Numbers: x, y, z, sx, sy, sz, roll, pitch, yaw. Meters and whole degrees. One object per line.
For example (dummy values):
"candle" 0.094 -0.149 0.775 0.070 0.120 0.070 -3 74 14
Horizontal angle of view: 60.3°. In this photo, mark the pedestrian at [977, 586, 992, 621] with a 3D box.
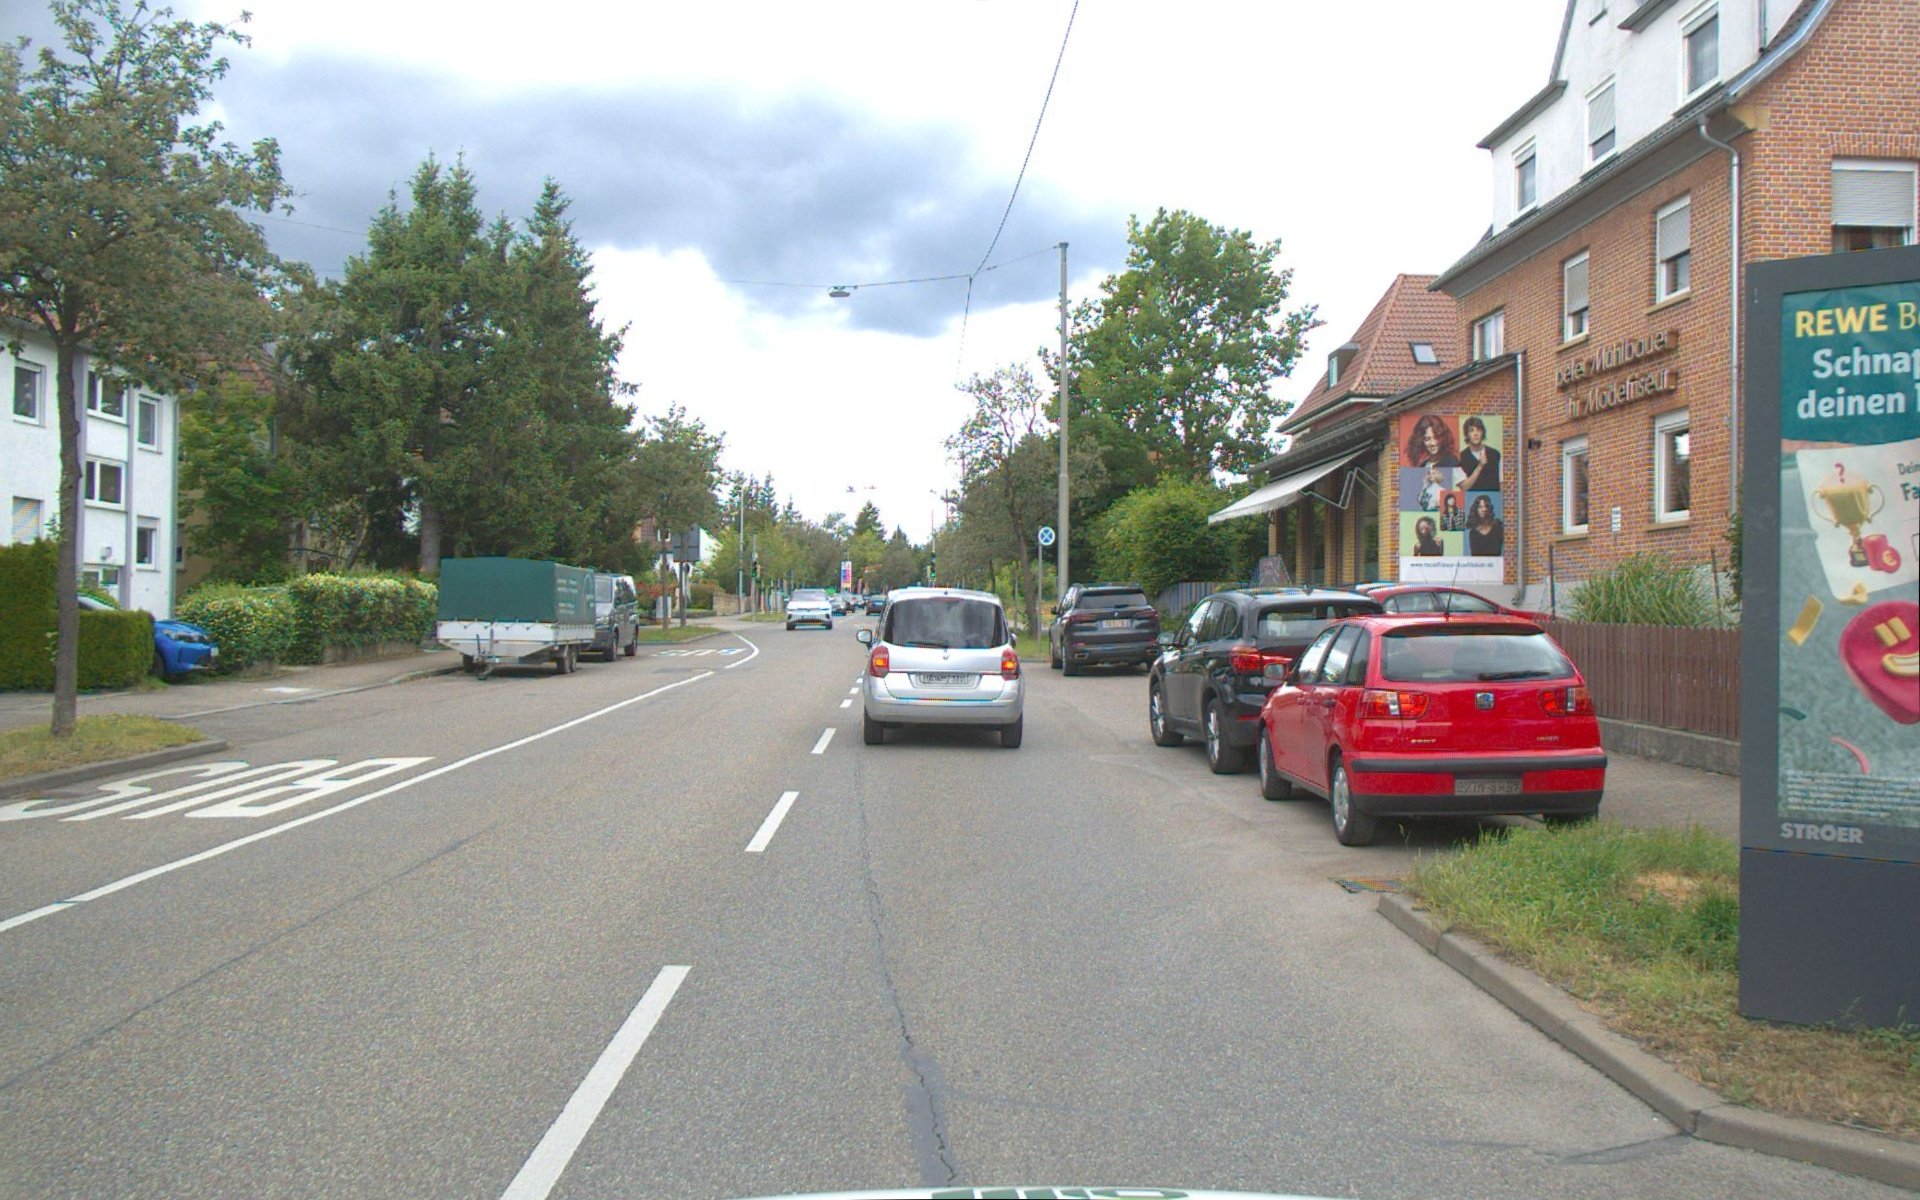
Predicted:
"pedestrian" 1.175 0.176 80.548 0.691 1.675 0.773 0 0 -2

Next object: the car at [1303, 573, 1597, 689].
"car" 7.512 0.445 25.514 3.915 1.522 1.806 -3 0 -10

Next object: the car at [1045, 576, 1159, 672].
"car" 2.760 0.463 32.883 1.776 1.773 3.998 -1 -1 -2

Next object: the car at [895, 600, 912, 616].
"car" -6.129 0.899 178.306 1.792 1.705 3.573 0 0 -1

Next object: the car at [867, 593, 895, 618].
"car" -5.504 0.355 115.477 1.792 1.705 3.573 0 0 -1

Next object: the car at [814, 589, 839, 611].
"car" -9.349 0.030 116.088 1.688 1.436 3.996 2 -1 -5

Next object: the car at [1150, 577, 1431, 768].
"car" 2.997 0.592 15.848 1.629 1.591 4.095 0 0 -4

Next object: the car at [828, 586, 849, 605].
"car" -9.852 -0.354 133.935 1.688 1.436 3.996 2 -1 -5

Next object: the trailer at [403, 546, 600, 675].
"trailer" -8.470 0.216 31.172 2.266 2.123 5.869 2 -1 -3

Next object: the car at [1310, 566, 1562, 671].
"car" 8.263 0.300 28.820 3.912 1.587 1.500 -3 0 -8

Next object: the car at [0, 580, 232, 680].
"car" -13.055 0.434 24.421 3.916 1.361 1.573 2 -2 -12

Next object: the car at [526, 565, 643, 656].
"car" -8.722 0.255 38.748 1.850 1.956 4.559 2 -1 -3

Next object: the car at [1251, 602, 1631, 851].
"car" 3.156 0.749 11.581 1.628 1.417 3.668 -1 0 1

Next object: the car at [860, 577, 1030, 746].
"car" -0.169 0.624 18.021 1.597 1.584 3.999 2 -1 -1

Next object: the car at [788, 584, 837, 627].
"car" -5.991 0.228 66.793 1.869 1.646 3.994 1 -1 -6
